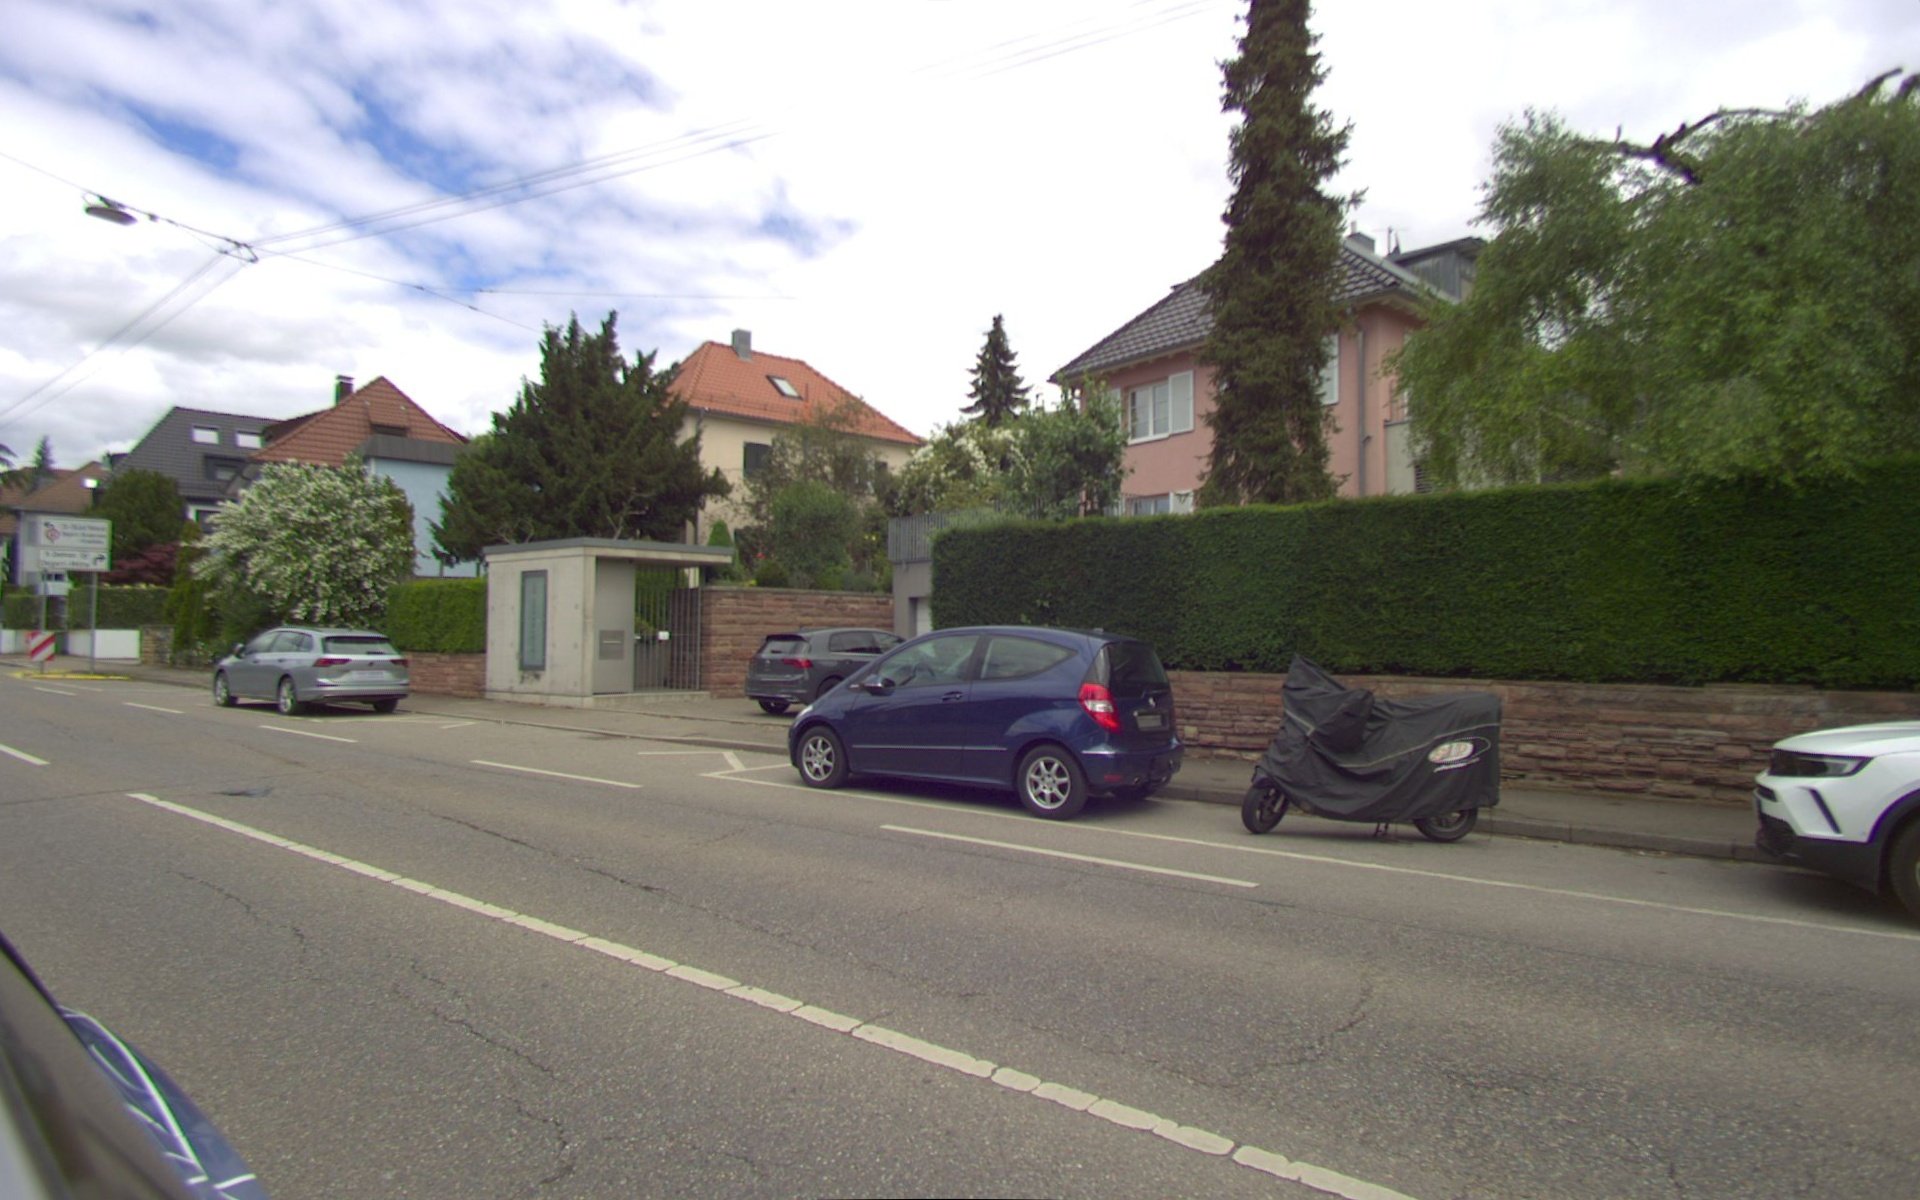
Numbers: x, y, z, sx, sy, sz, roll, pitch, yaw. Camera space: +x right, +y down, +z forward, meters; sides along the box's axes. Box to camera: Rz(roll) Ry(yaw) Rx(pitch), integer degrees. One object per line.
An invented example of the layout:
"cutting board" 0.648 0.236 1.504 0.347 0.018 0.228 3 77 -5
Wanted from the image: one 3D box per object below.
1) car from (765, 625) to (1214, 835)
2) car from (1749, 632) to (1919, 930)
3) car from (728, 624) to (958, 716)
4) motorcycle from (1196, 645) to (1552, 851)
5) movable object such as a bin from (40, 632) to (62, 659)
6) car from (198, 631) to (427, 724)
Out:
"car" 0.181 1.059 9.534 3.962 1.568 1.664 -1 -4 35
"car" 6.616 0.941 5.082 4.017 1.506 1.873 -1 -4 34
"car" -1.924 1.138 17.317 1.850 1.401 3.548 -2 -3 44
"motorcycle" 2.994 1.057 7.586 2.288 1.366 0.883 -2 -5 20
"movable object such as a bin" -33.979 1.699 37.833 0.539 0.981 0.502 -1 -3 38
"car" -11.561 1.317 17.988 4.402 1.466 1.794 -1 -4 34
